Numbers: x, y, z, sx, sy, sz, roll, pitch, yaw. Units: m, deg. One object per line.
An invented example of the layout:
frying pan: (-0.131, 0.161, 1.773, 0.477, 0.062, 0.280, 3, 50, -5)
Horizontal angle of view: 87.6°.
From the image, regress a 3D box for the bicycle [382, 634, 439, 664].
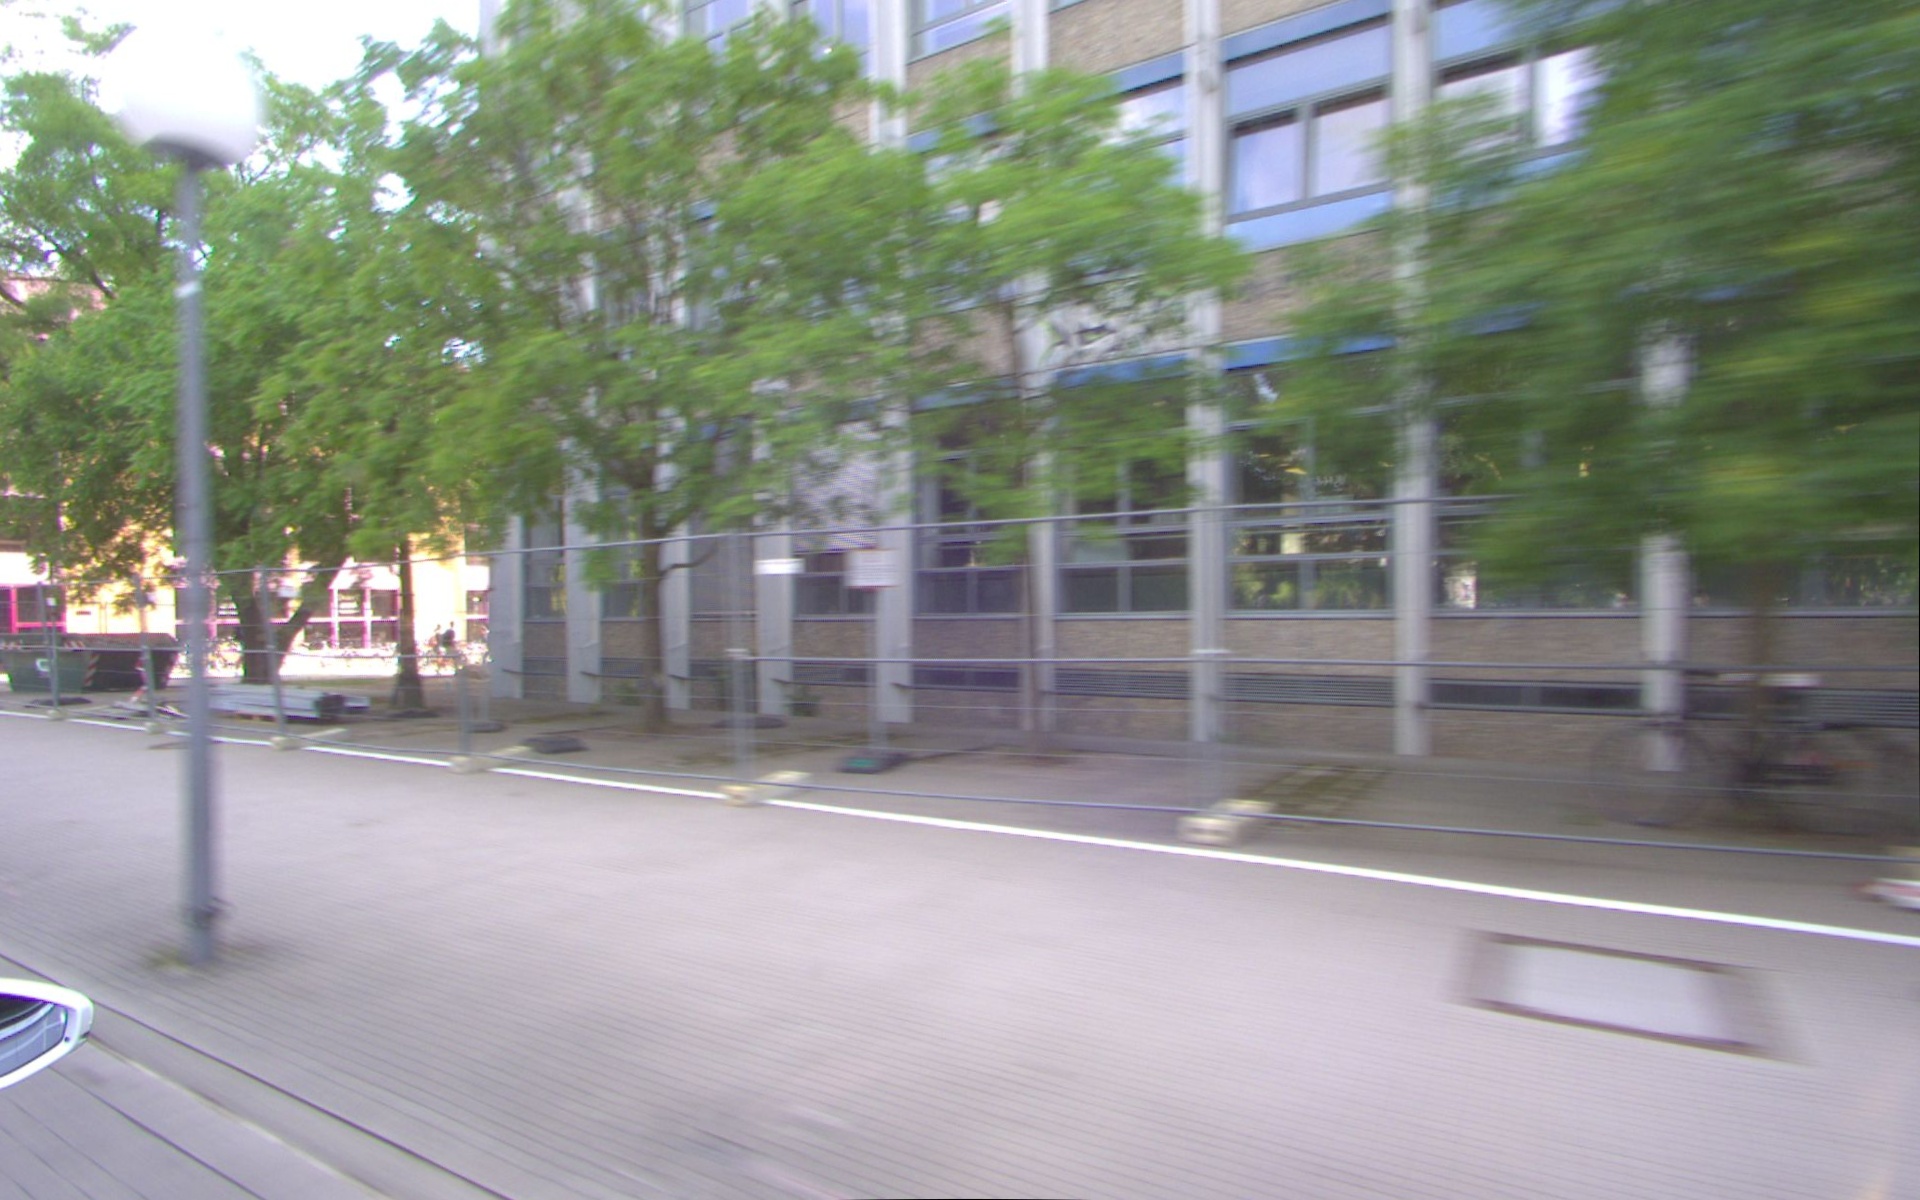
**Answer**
bicycle: (-21.833, 1.955, 39.834, 0.467, 1.184, 1.994, 0, -2, 30)

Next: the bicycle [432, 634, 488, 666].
bicycle: (-19.164, 1.917, 38.424, 0.467, 1.184, 1.994, 0, -3, 30)

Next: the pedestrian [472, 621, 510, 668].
pedestrian: (-16.958, 1.590, 36.233, 0.695, 1.672, 1.040, -2, -2, 39)

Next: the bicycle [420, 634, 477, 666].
bicycle: (-19.691, 1.915, 38.558, 0.467, 1.184, 1.994, 0, -3, 30)

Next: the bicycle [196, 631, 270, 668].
bicycle: (-22.801, 1.544, 31.419, 0.517, 1.124, 1.805, -1, -2, 35)

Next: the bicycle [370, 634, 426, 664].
bicycle: (-22.640, 1.981, 40.349, 0.467, 1.184, 1.994, 0, -2, 30)

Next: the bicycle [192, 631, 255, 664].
bicycle: (-26.176, 1.692, 35.622, 0.466, 1.124, 1.806, -1, -2, 26)

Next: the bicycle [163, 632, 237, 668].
bicycle: (-24.249, 1.594, 31.972, 0.517, 1.124, 1.805, -1, -2, 35)

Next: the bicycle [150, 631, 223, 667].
bicycle: (-25.048, 1.583, 32.439, 0.516, 1.124, 1.808, -1, -2, 29)

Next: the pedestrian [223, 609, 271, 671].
pedestrian: (-20.748, 1.154, 29.158, 0.674, 1.750, 0.901, -3, -1, 27)

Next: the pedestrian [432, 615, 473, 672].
pedestrian: (-16.081, 1.372, 31.751, 0.674, 1.750, 0.901, -3, -1, 27)

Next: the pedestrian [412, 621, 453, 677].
pedestrian: (-16.885, 1.569, 32.046, 0.674, 1.750, 0.901, -3, -1, 27)

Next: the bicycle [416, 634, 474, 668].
bicycle: (-18.280, 1.802, 35.585, 0.468, 1.184, 1.802, -1, -3, 35)

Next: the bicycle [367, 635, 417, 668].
bicycle: (-20.941, 1.882, 36.957, 0.465, 1.184, 1.811, 0, -2, 15)

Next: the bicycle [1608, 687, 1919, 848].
bicycle: (5.155, 1.050, 6.471, 1.592, 0.917, 0.290, -1, 0, 24)

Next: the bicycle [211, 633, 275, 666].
bicycle: (-25.041, 1.721, 35.009, 0.466, 1.124, 1.806, -1, -2, 26)

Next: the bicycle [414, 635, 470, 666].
bicycle: (-20.124, 1.957, 38.932, 0.467, 1.184, 1.994, 0, -3, 30)

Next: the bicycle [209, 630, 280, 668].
bicycle: (-21.929, 1.504, 30.722, 0.468, 1.124, 1.690, -1, -2, 35)

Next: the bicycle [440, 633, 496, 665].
bicycle: (-18.696, 1.881, 38.084, 0.467, 1.184, 1.994, 0, -3, 30)

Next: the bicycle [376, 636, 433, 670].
bicycle: (-20.081, 1.924, 36.249, 0.467, 1.184, 1.805, 0, -2, 30)

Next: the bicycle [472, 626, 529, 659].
bicycle: (-17.139, 1.601, 37.388, 0.467, 1.184, 1.994, 0, -3, 30)

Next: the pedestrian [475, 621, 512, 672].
pedestrian: (-16.279, 1.618, 34.958, 0.674, 1.750, 0.901, -3, -1, 27)

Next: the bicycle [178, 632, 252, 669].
bicycle: (-23.462, 1.579, 31.587, 0.516, 1.124, 1.807, -1, -2, 31)
